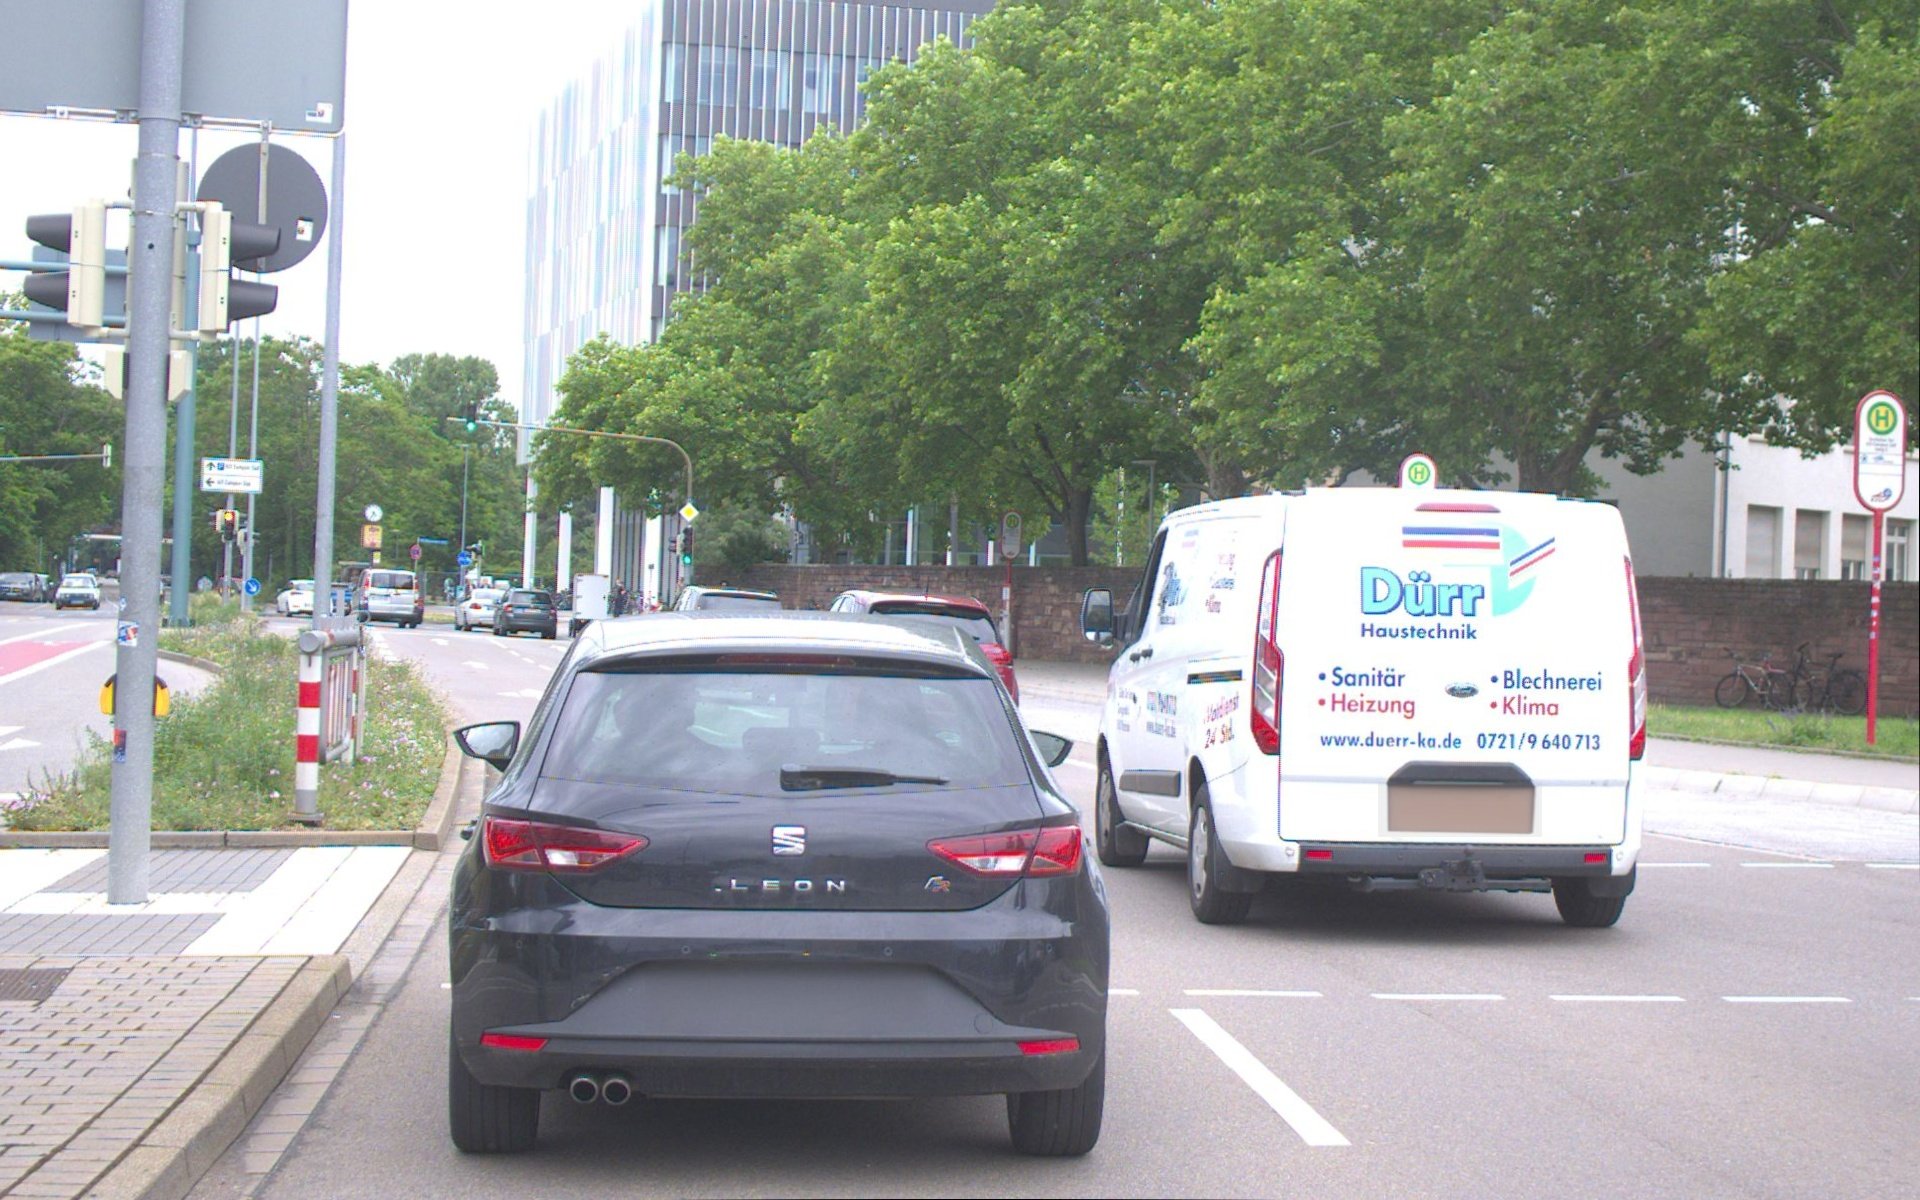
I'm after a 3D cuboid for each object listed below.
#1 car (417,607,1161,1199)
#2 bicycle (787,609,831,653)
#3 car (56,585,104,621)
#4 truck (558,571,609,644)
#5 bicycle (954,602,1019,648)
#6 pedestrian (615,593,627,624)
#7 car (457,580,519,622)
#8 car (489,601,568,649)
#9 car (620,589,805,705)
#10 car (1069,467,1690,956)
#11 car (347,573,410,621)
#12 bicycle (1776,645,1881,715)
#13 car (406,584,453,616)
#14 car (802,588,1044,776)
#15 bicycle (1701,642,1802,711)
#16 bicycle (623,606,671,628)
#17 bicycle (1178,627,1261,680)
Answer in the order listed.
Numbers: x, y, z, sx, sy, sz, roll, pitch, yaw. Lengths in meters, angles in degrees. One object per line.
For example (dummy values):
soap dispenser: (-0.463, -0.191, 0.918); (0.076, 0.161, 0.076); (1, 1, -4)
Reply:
car: (-0.620, 0.767, 10.139); (1.752, 1.428, 3.770); (2, -1, -7)
bicycle: (-4.284, 0.872, 97.271); (0.803, 1.170, 1.955); (-1, 1, -15)
car: (-35.686, 0.101, 139.456); (1.607, 1.376, 3.809); (1, 1, -10)
truck: (-11.872, 0.210, 108.223); (1.317, 2.236, 3.402); (1, 1, -11)
bicycle: (0.650, 0.612, 84.933); (0.848, 1.123, 1.924); (0, 0, -25)
pedestrian: (-15.372, 0.381, 155.851); (0.472, 1.357, 0.445); (1, 0, 0)
car: (-15.758, 0.022, 114.594); (1.615, 1.349, 4.001); (1, 1, -14)
car: (-12.903, 0.727, 102.660); (1.898, 1.349, 3.884); (1, 1, -14)
car: (-3.840, 0.691, 52.801); (1.914, 1.658, 4.116); (1, 1, -18)
car: (1.869, 0.514, 16.823); (1.966, 1.966, 4.344); (4, -1, -6)
car: (-19.274, -0.112, 113.780); (1.695, 1.499, 4.011); (1, 1, -15)
bicycle: (14.624, 1.339, 57.911); (0.594, 1.125, 1.713); (0, 1, -36)
car: (-20.733, -0.018, 134.353); (1.504, 1.190, 3.164); (1, 1, -14)
car: (-0.429, 0.760, 34.056); (1.949, 1.618, 3.750); (4, 0, -6)
bicycle: (13.661, 1.308, 59.355); (0.594, 1.132, 1.713); (0, 1, -36)
bicycle: (-13.074, 0.697, 143.521); (1.886, 0.895, 0.697); (0, 1, -31)
bicycle: (5.536, 1.137, 73.452); (0.718, 1.096, 1.791); (0, 1, -40)
